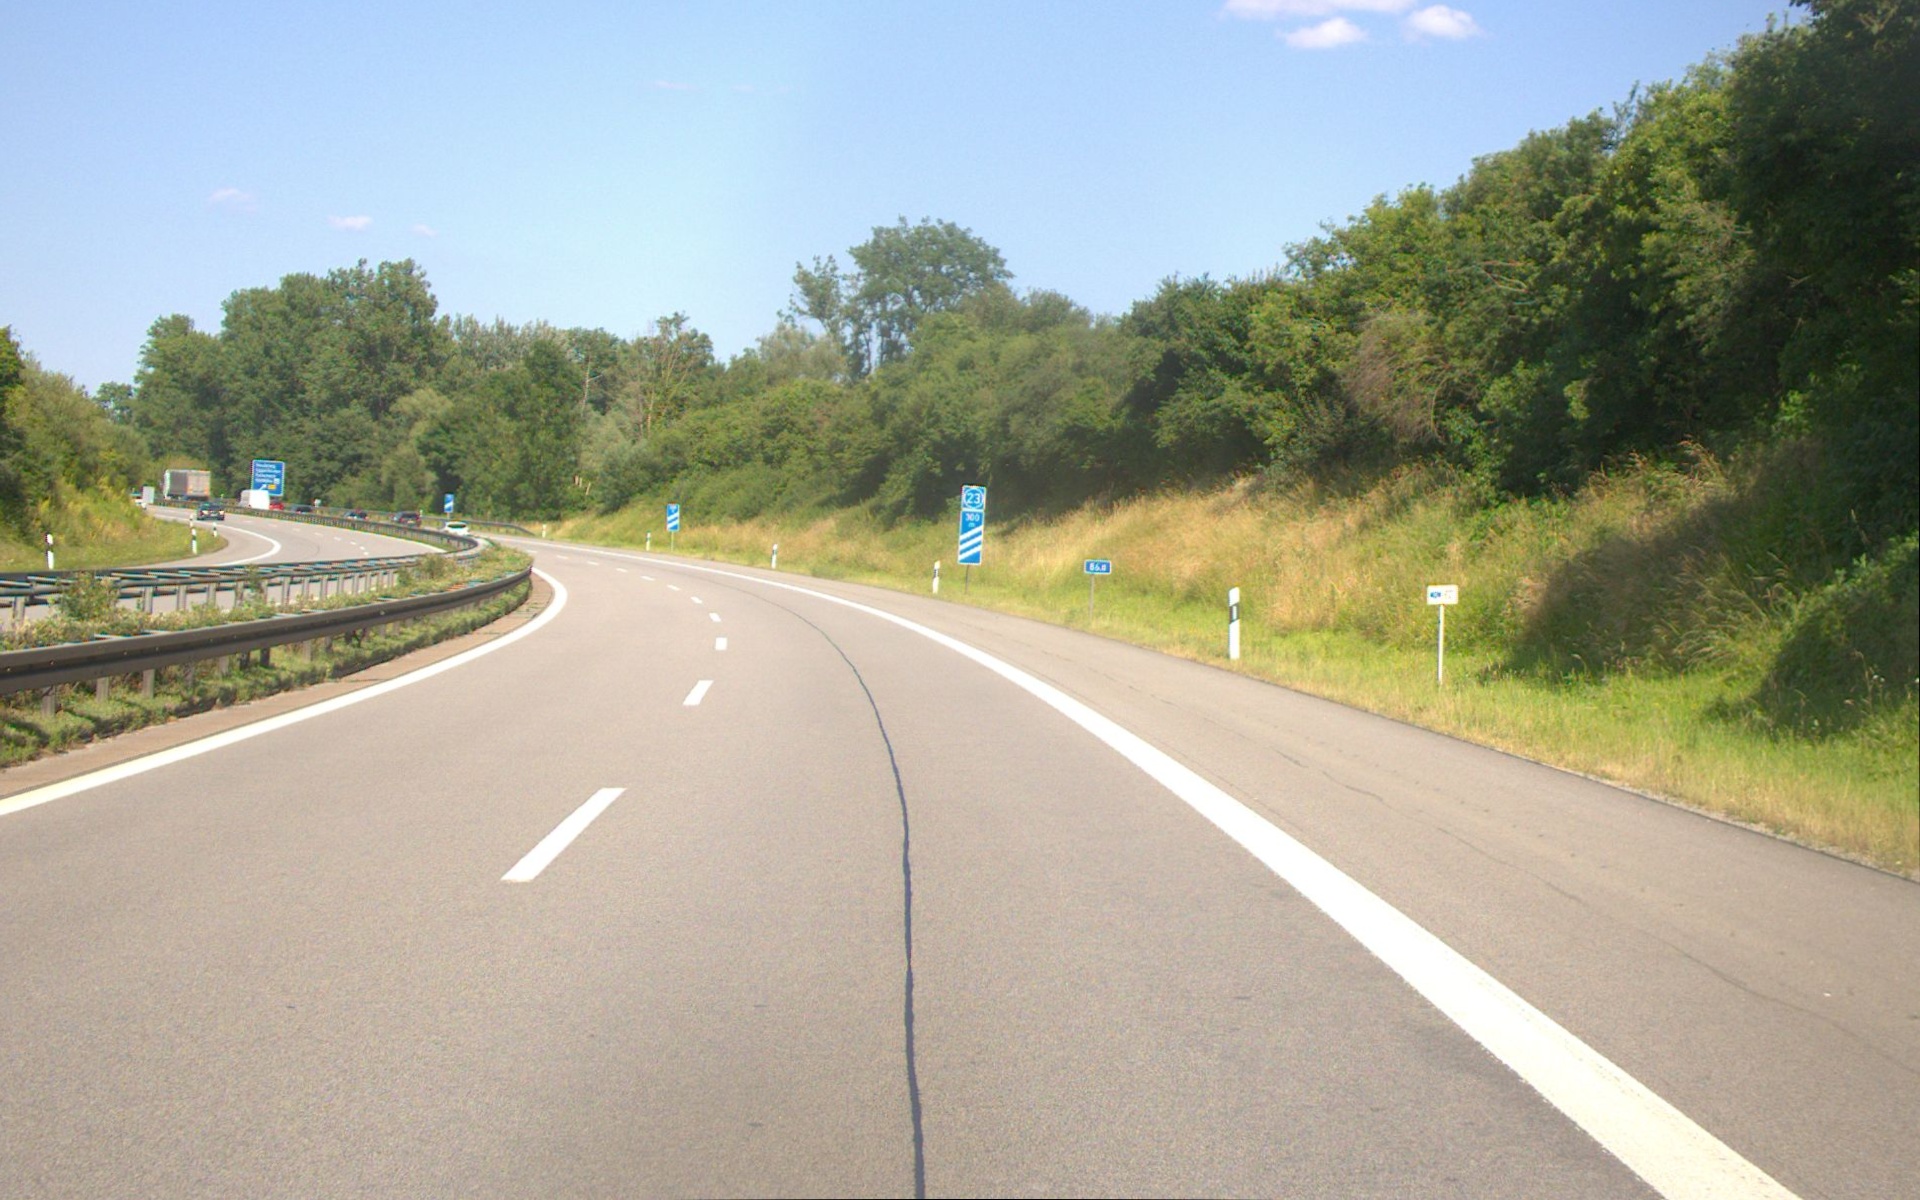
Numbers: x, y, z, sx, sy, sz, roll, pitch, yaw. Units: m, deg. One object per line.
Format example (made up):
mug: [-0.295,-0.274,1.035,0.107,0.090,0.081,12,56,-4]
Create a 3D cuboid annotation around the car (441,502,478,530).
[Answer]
car: [-31.733,-5.321,217.799,2.061,1.619,4.001,1,0,-12]
